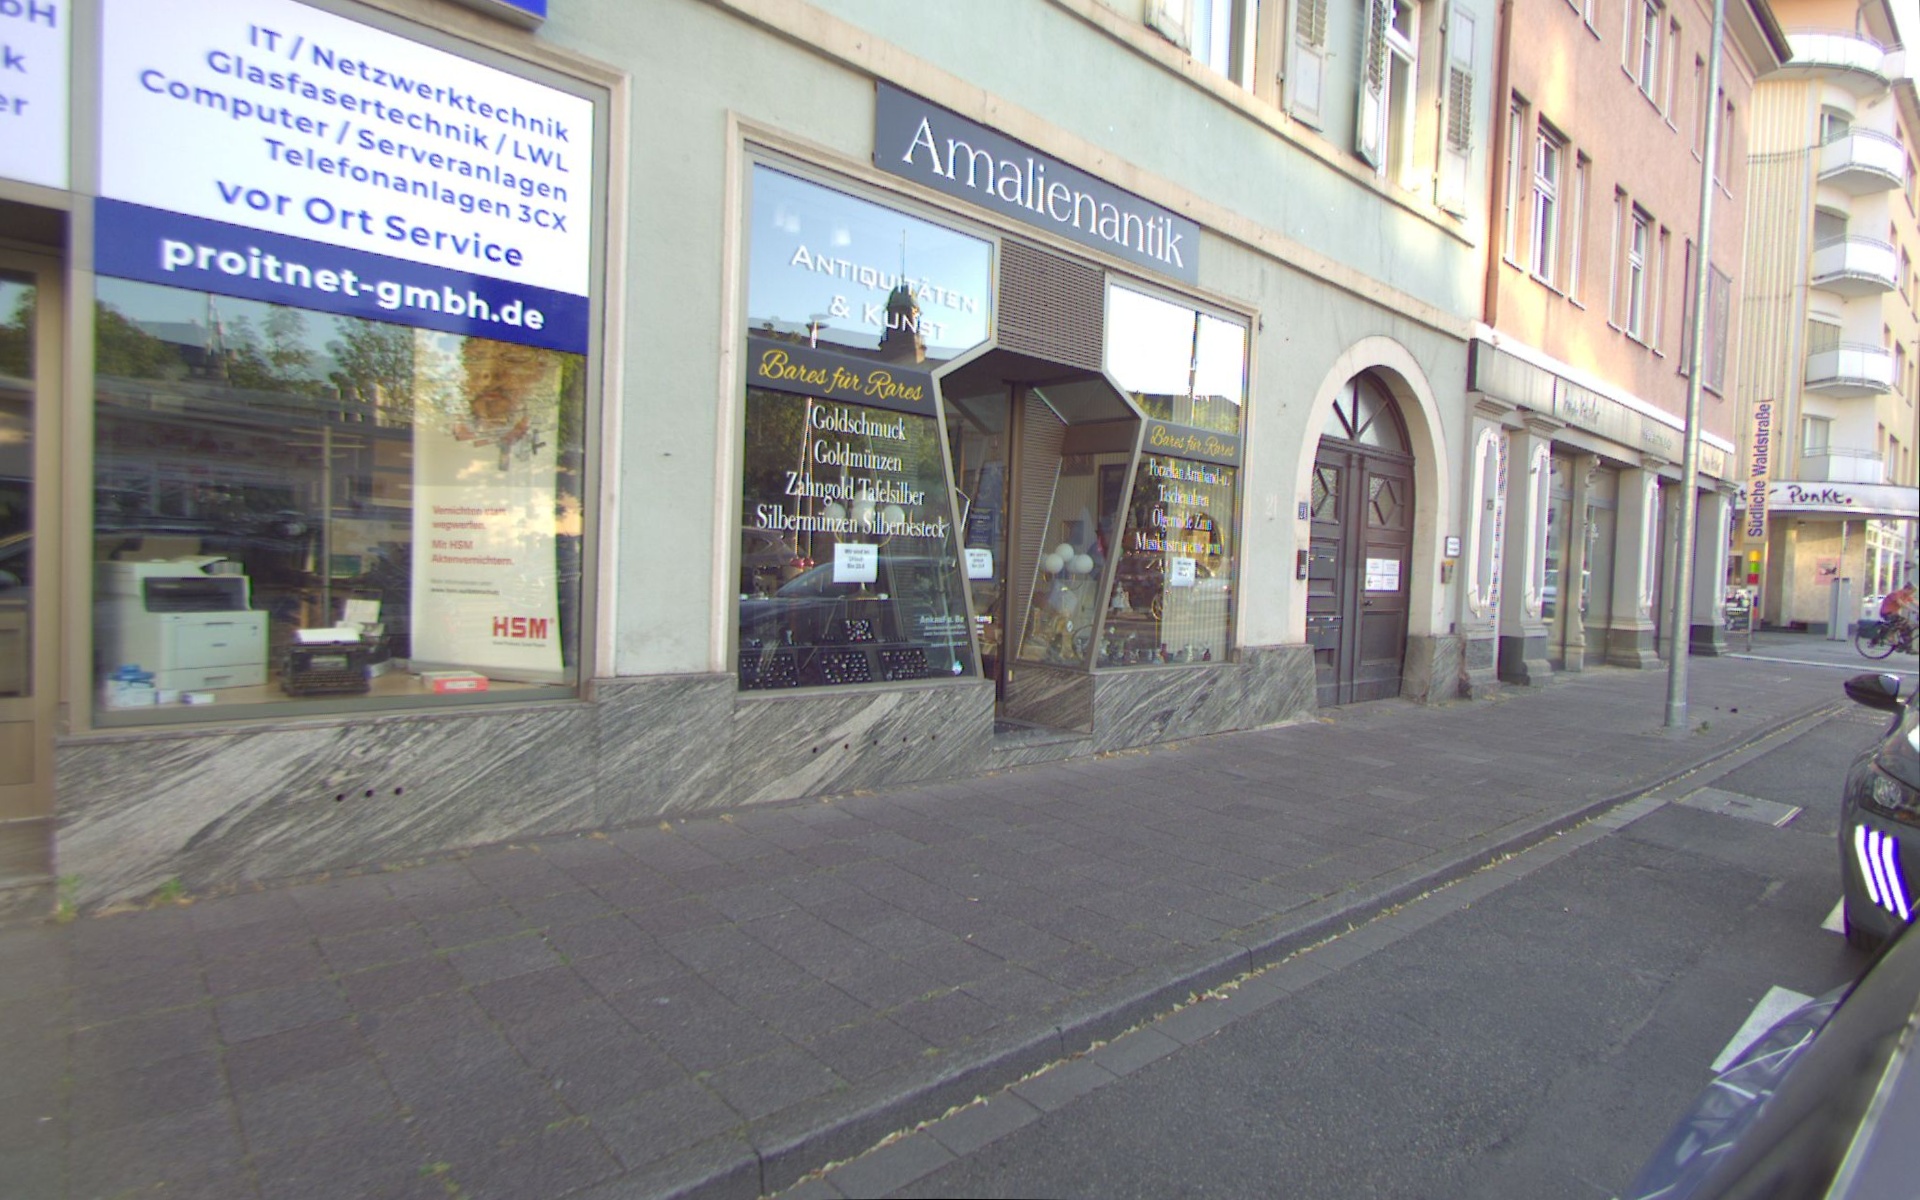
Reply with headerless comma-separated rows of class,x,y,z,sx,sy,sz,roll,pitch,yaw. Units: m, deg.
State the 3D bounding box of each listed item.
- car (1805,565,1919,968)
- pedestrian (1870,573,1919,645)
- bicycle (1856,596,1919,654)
car,5.369,0.654,4.441,3.835,1.460,1.752,0,4,-39
pedestrian,18.617,0.174,19.927,0.551,1.367,0.860,1,2,-30
bicycle,18.704,0.494,19.745,0.551,1.070,1.707,1,3,-30
